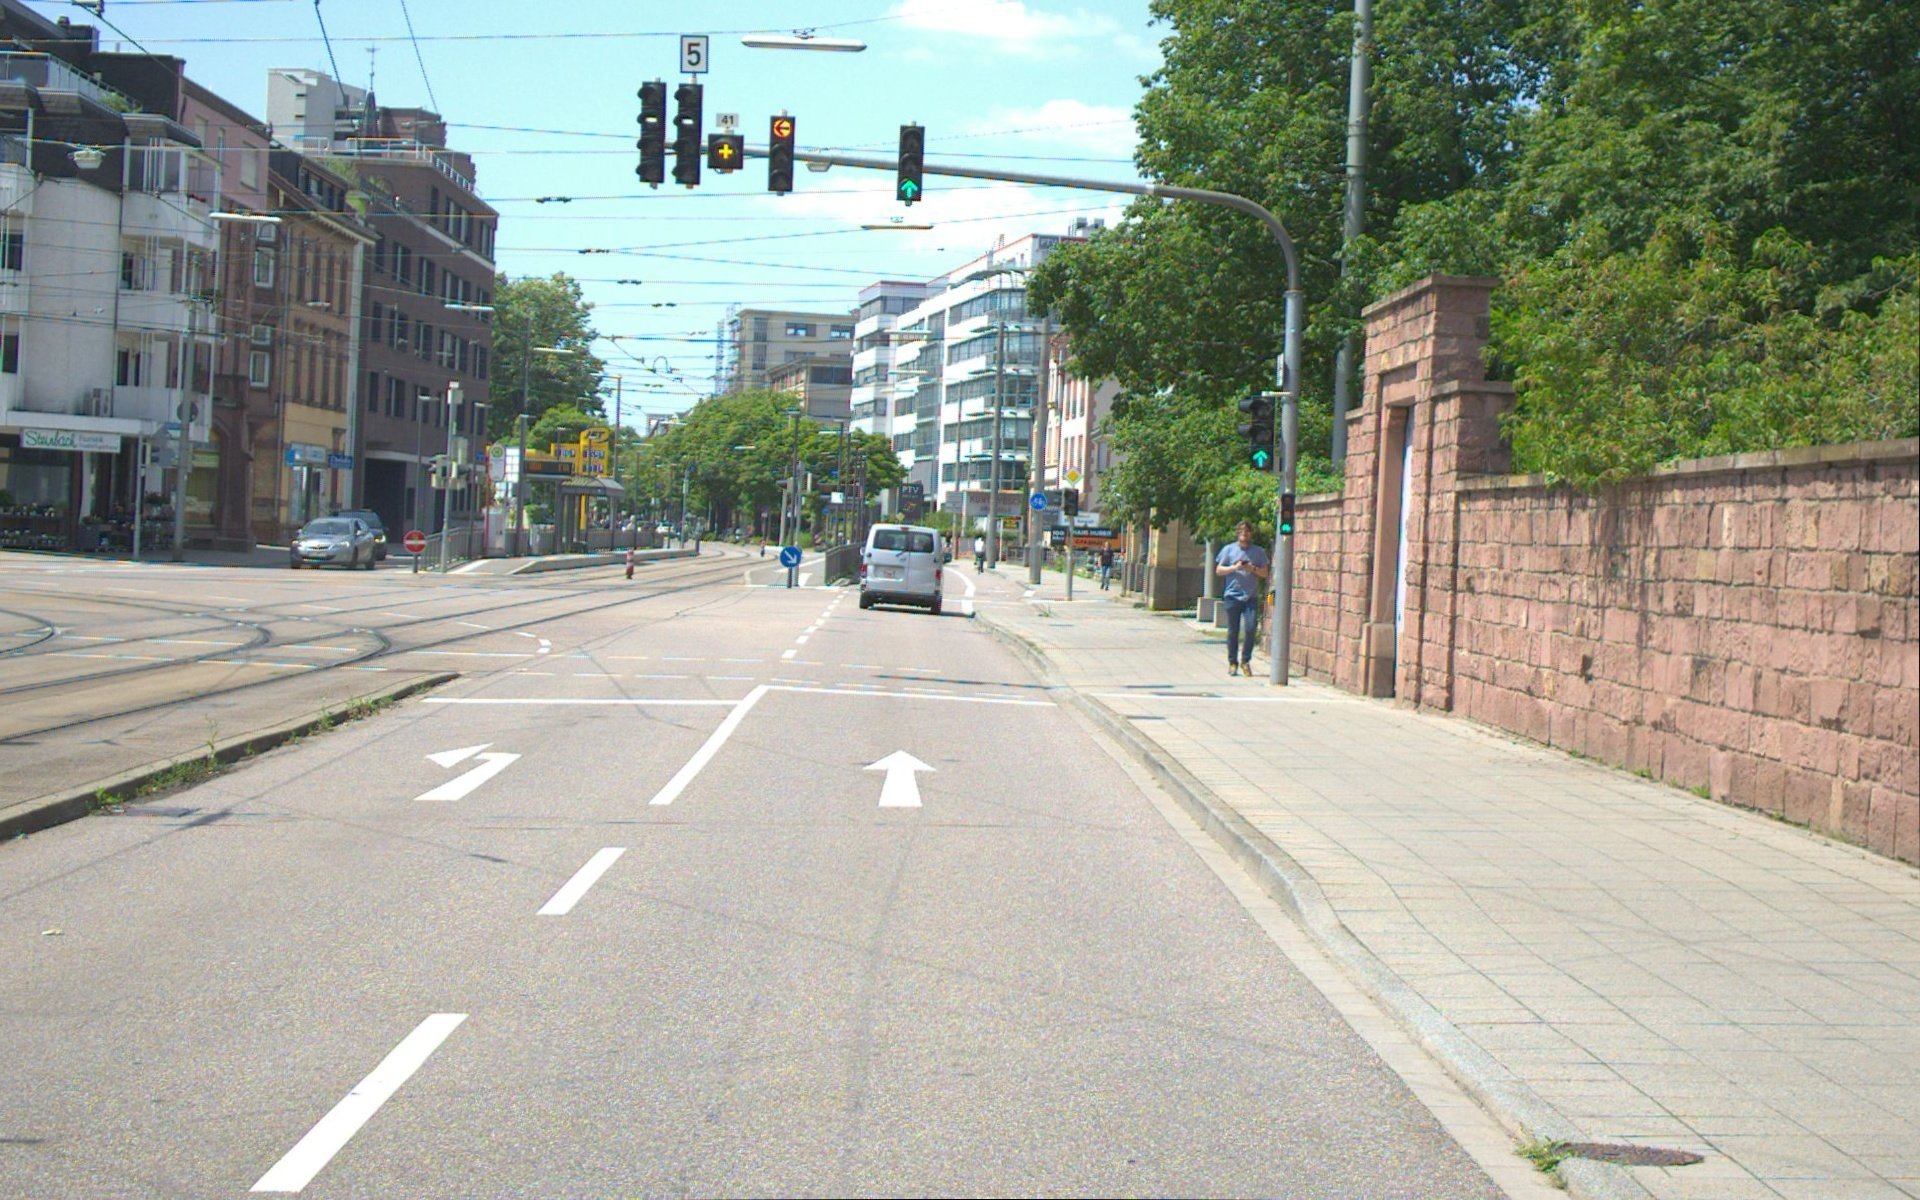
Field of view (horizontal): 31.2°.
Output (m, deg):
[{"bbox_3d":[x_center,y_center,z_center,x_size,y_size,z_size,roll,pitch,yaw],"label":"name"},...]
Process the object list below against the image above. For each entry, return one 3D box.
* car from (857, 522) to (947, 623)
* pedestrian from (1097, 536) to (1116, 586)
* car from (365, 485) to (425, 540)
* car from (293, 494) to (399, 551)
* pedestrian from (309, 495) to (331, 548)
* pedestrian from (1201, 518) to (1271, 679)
[{"bbox_3d":[-1.218,-0.617,73.731,1.752,2.006,4.000,2,2,1],"label":"car"},{"bbox_3d":[4.645,-1.235,109.043,0.577,1.551,0.786,1,0,3],"label":"pedestrian"},{"bbox_3d":[-18.969,-2.951,115.484,1.723,1.677,4.281,3,2,-7],"label":"car"},{"bbox_3d":[-17.187,-2.167,96.448,1.994,1.466,4.401,3,1,2],"label":"car"},{"bbox_3d":[-24.352,-2.981,130.720,0.617,2.007,0.810,3,0,-3],"label":"pedestrian"},{"bbox_3d":[3.242,-0.023,40.301,0.716,1.845,0.767,2,1,6],"label":"pedestrian"}]
